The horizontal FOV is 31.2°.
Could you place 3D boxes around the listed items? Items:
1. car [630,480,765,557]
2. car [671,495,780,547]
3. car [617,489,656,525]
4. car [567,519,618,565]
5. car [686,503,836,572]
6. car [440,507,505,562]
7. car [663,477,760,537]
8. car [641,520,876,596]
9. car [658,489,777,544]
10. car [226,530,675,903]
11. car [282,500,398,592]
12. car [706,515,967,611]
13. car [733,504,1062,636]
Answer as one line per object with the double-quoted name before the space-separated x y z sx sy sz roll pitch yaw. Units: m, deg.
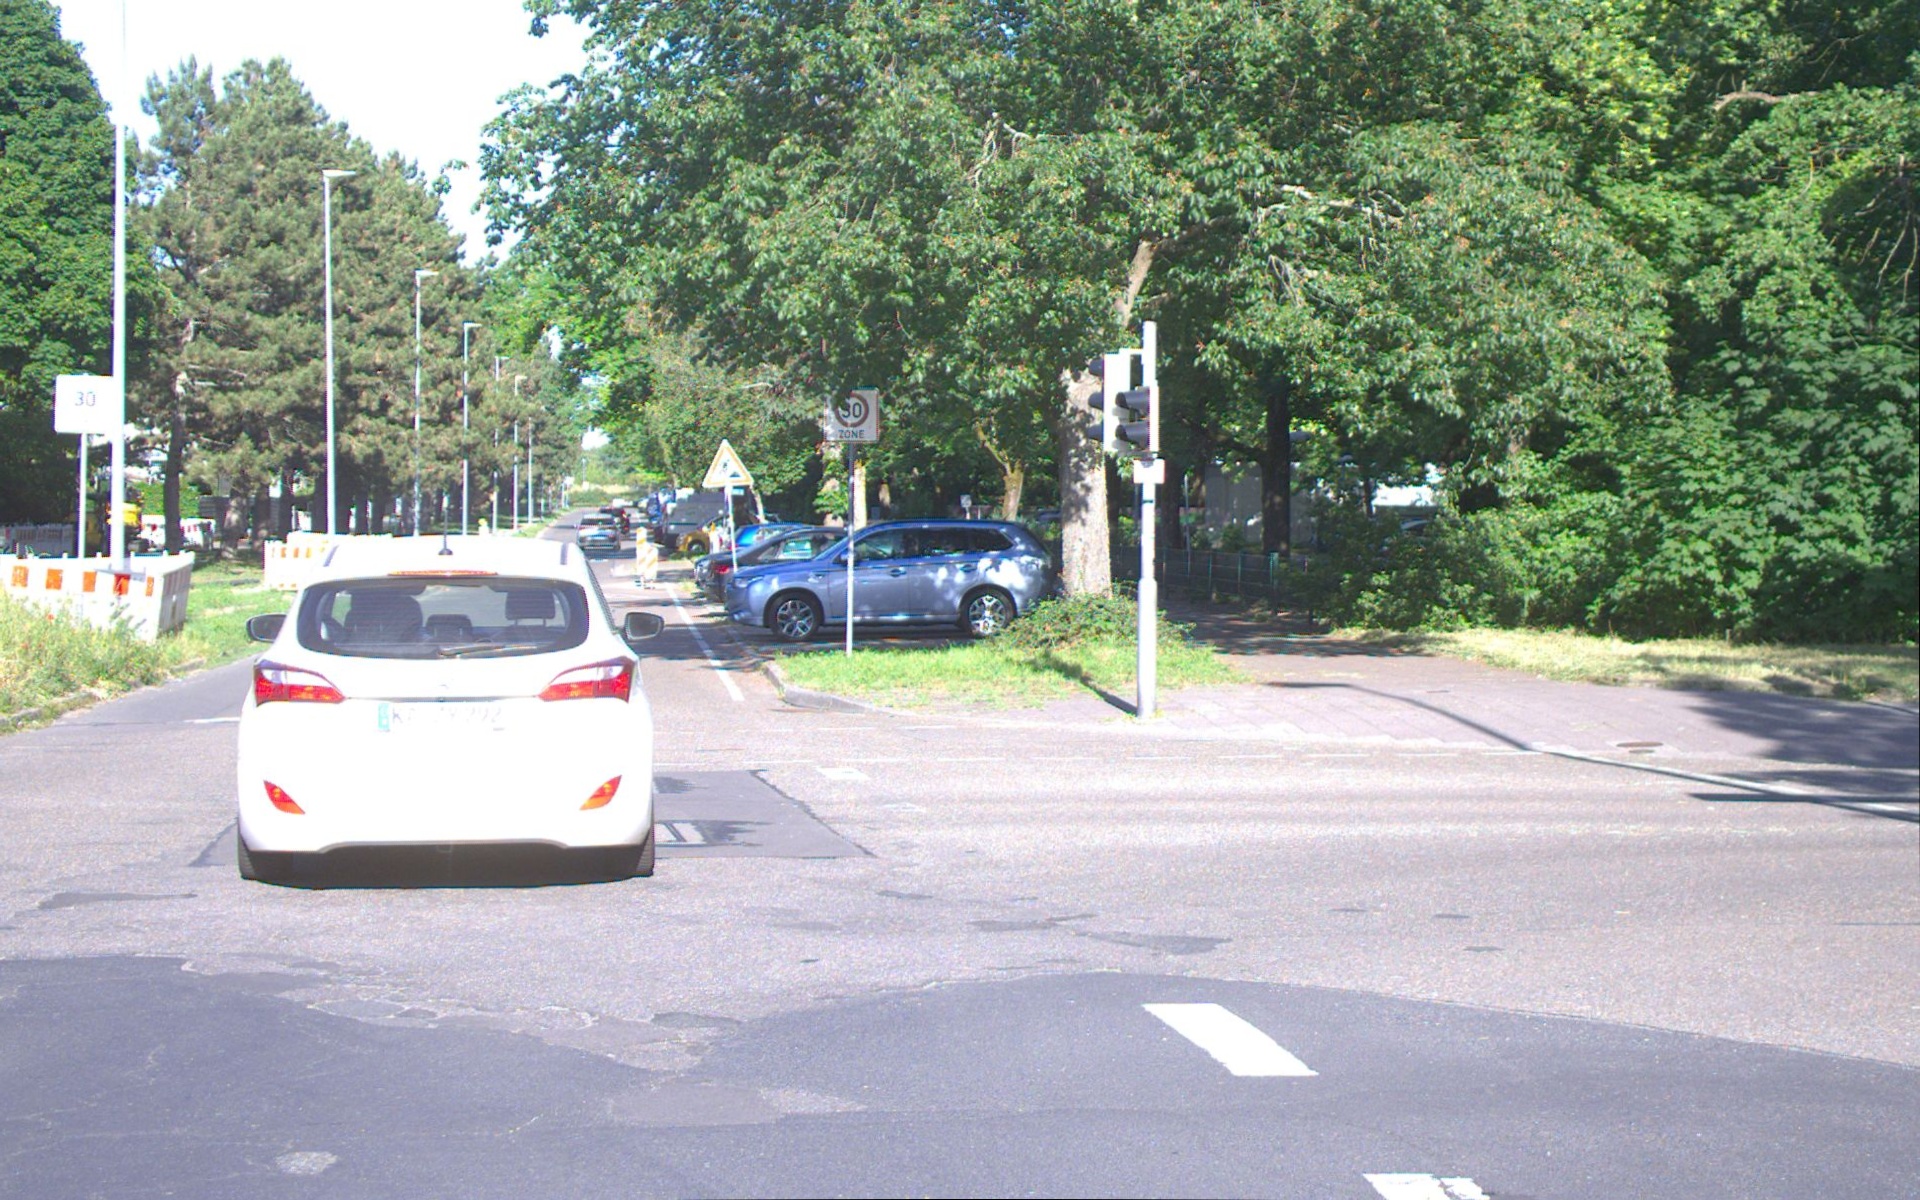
"car" -7.618 -2.353 99.695 3.818 2.091 1.864 1 1 -5
"car" -8.453 -2.844 123.886 3.818 1.761 1.864 1 1 -5
"car" -17.176 -4.952 182.745 1.993 1.809 4.001 1 1 -5
"car" -15.472 -2.442 144.936 1.993 1.809 4.001 3 1 -5
"car" -5.219 -1.635 89.837 3.818 1.678 1.864 1 1 -5
"car" -16.893 -2.265 119.218 1.993 1.809 4.001 1 1 -5
"car" -10.021 -3.743 138.378 3.818 2.291 1.864 1 1 -5
"car" -4.924 -1.018 83.803 5.613 1.678 1.948 1 1 -5
"car" -8.978 -3.071 126.998 4.301 1.901 1.864 1 1 -5
"car" -2.359 0.442 15.936 1.789 1.458 3.964 1 2 -9
"car" -12.789 -1.093 71.124 1.993 1.809 4.001 -1 0 -5
"car" -2.174 -0.653 60.218 4.498 1.624 1.855 0 1 -3
"car" -0.898 -0.435 48.068 4.498 1.776 1.855 0 1 -3
